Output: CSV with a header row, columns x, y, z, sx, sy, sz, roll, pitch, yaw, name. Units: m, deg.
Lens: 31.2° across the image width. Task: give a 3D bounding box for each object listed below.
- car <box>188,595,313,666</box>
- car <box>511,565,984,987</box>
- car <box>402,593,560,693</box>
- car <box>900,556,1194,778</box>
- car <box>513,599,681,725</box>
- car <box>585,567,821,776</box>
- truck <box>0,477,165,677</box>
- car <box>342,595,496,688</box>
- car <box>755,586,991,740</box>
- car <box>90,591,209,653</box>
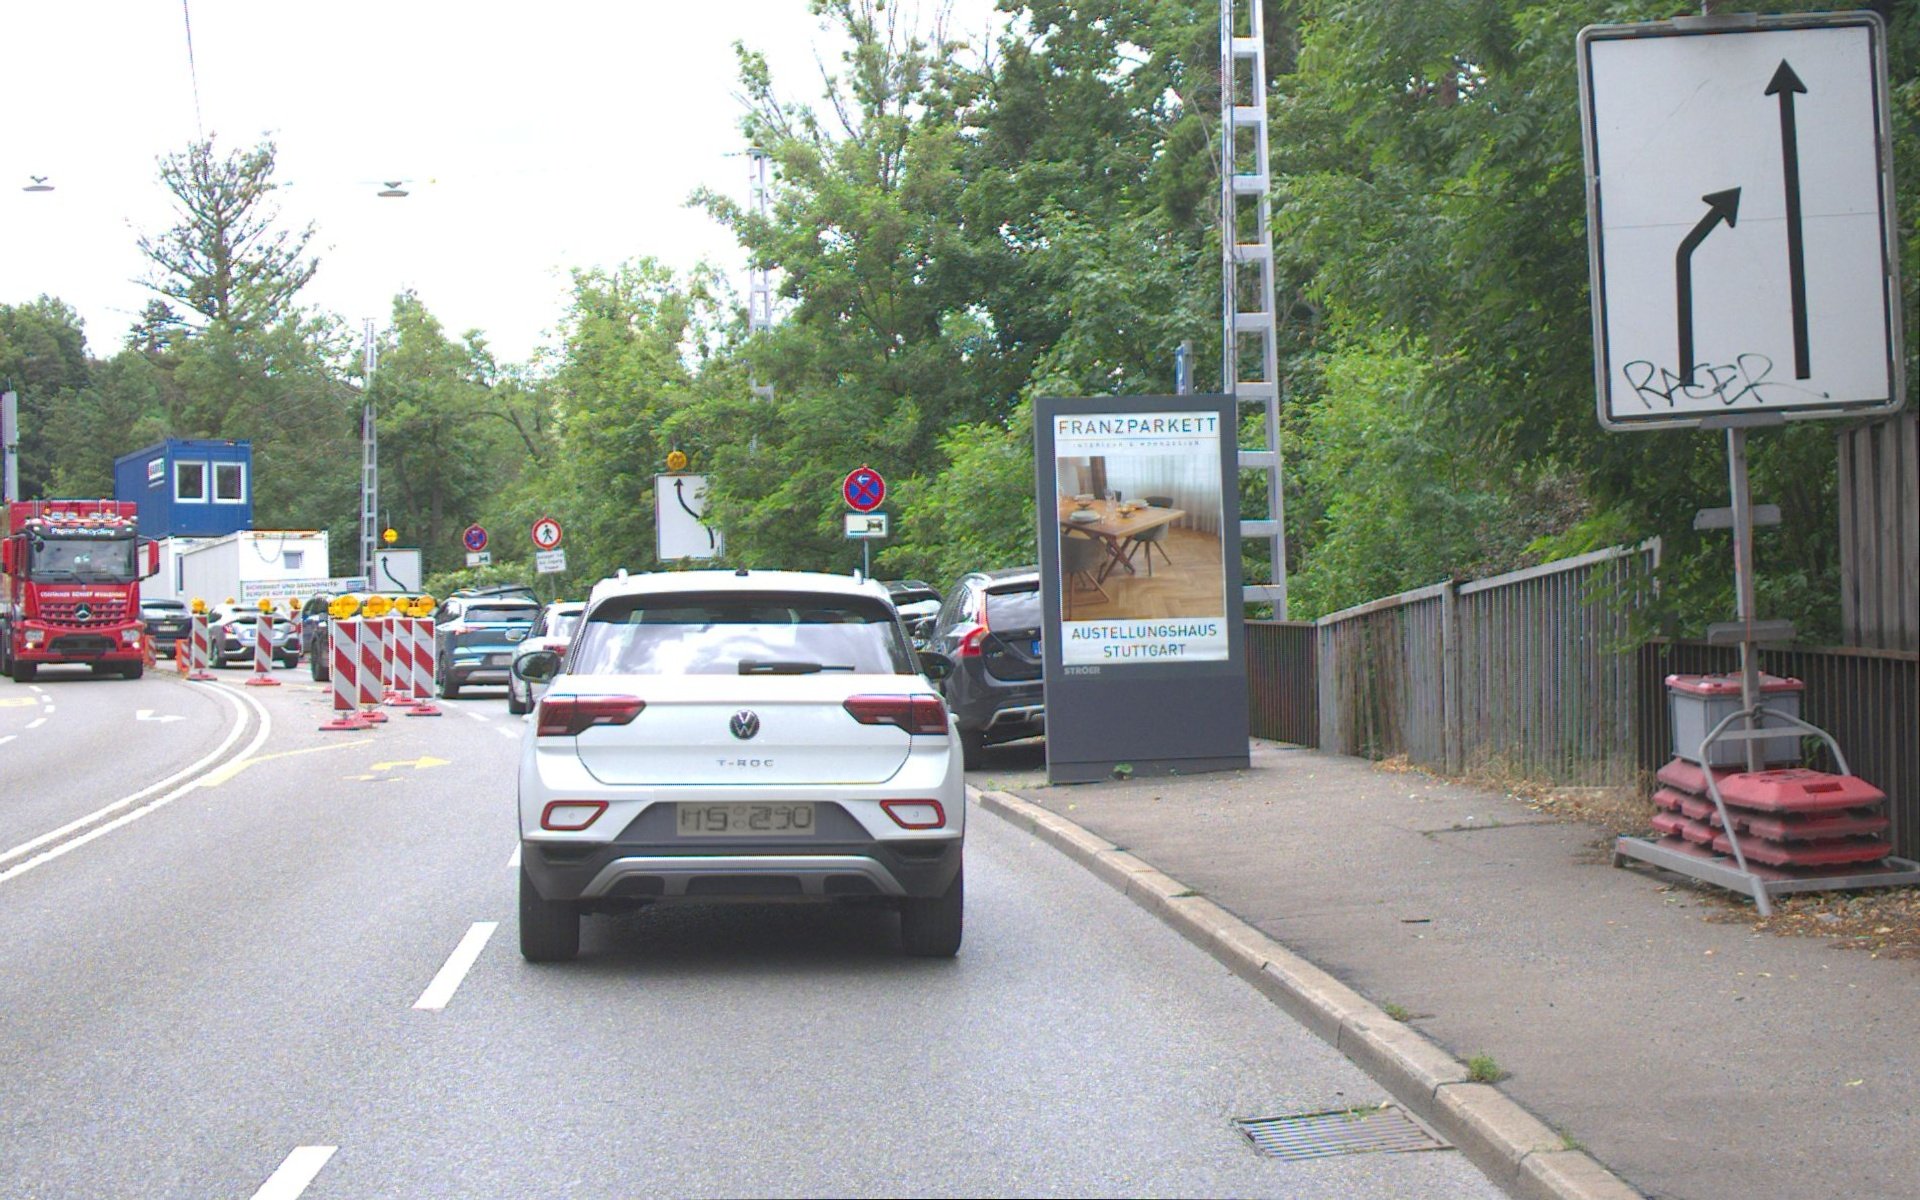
x,y,z,sx,sy,sz,roll,pitch,yaw,name
-15.662,0.677,75.732,1.993,1.445,4.151,-2,0,-21,car
-1.032,0.647,14.768,1.757,1.550,3.796,-1,0,-7,car
-7.478,0.670,53.390,1.993,1.409,4.151,-3,0,-13,car
0.627,0.486,28.189,1.765,1.516,4.394,-5,1,-5,car
-4.565,0.733,42.862,1.757,1.466,3.796,-1,0,-11,car
-2.202,0.544,28.639,1.757,1.604,3.796,-1,0,-7,car
-18.323,-0.451,70.944,2.944,3.685,9.921,-3,1,-16,truck
-9.843,0.723,62.321,1.993,1.551,4.152,-1,1,-20,car
-1.054,0.671,39.134,1.807,1.458,4.195,-7,2,-12,car
-20.410,0.559,86.468,1.993,1.445,4.151,-2,0,-26,car
